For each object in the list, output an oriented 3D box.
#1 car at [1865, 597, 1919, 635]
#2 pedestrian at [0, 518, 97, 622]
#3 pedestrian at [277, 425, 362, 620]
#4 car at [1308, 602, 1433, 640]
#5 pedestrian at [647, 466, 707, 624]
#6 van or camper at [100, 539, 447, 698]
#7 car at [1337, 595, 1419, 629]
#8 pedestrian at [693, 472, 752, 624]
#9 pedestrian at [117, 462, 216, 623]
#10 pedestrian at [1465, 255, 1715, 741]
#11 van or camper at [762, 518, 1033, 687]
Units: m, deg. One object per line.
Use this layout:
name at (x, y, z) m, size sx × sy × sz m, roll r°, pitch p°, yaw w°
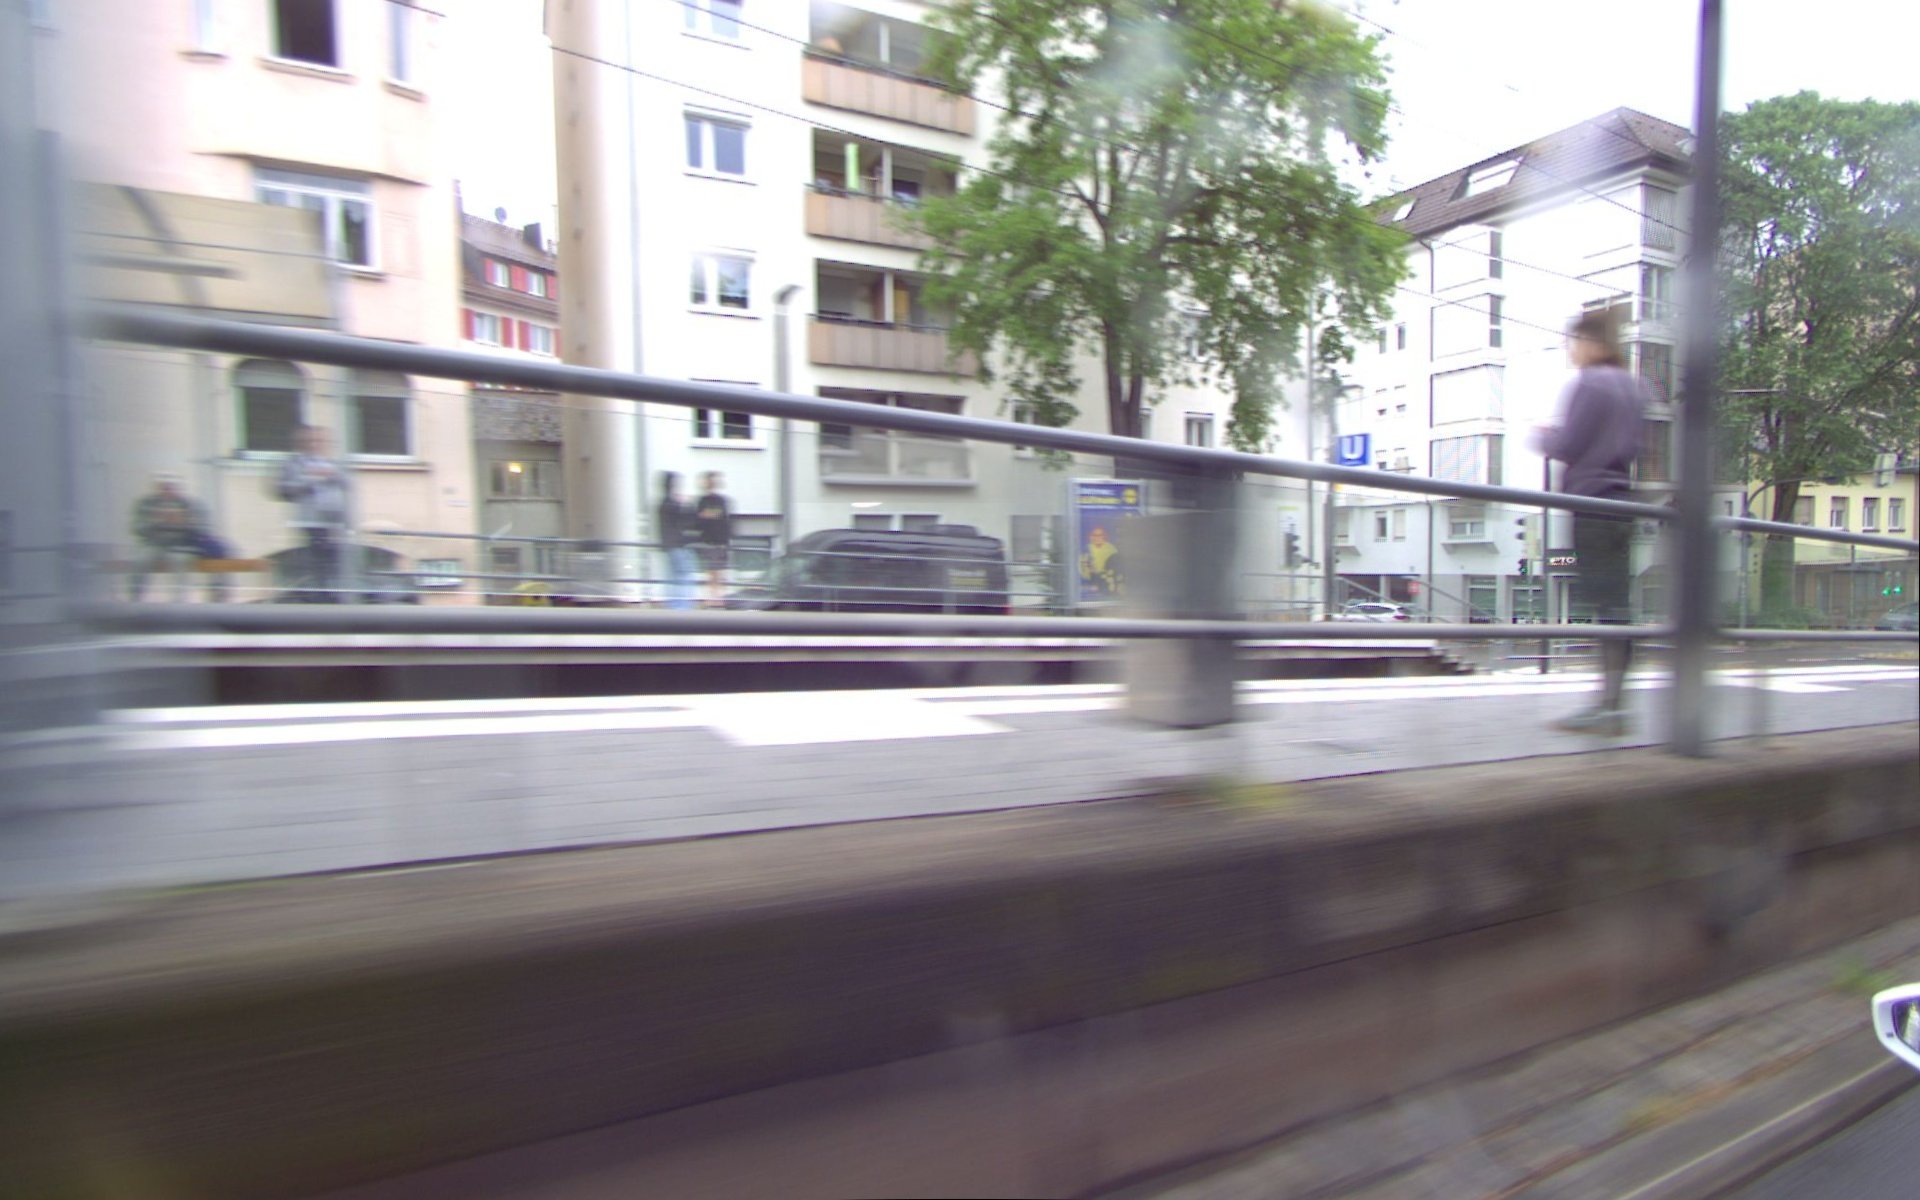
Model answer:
car at (40.017, 0.635, 42.079) m, size 4.438 × 1.536 × 1.719 m, roll 0°, pitch 1°, yaw -28°
pedestrian at (-8.140, -0.249, 8.918) m, size 0.606 × 0.883 × 0.548 m, roll 1°, pitch -1°, yaw -29°
pedestrian at (-6.042, -0.699, 9.508) m, size 0.606 × 1.764 × 0.548 m, roll 1°, pitch -1°, yaw -29°
car at (17.029, 0.830, 41.918) m, size 1.975 × 1.492 × 4.696 m, roll 0°, pitch 0°, yaw -27°
pedestrian at (-3.277, -0.615, 11.622) m, size 0.556 × 1.764 × 0.480 m, roll 1°, pitch -1°, yaw -29°
van or camper at (-9.763, 0.249, 14.700) m, size 3.952 × 2.040 × 1.985 m, roll 0°, pitch 0°, yaw -30°
car at (19.917, 0.549, 47.831) m, size 3.958 × 1.555 × 1.689 m, roll 0°, pitch 0°, yaw -34°
pedestrian at (-2.854, -0.599, 12.068) m, size 0.556 × 1.764 × 0.480 m, roll 1°, pitch -1°, yaw -29°
pedestrian at (-7.348, -0.504, 9.326) m, size 0.606 × 1.432 × 0.548 m, roll 1°, pitch -1°, yaw -29°
pedestrian at (2.632, -0.384, 4.218) m, size 0.653 × 1.832 × 0.586 m, roll 1°, pitch 2°, yaw -30°
van or camper at (-1.118, 0.054, 19.078) m, size 4.812 × 2.842 × 1.981 m, roll 0°, pitch 0°, yaw -34°
